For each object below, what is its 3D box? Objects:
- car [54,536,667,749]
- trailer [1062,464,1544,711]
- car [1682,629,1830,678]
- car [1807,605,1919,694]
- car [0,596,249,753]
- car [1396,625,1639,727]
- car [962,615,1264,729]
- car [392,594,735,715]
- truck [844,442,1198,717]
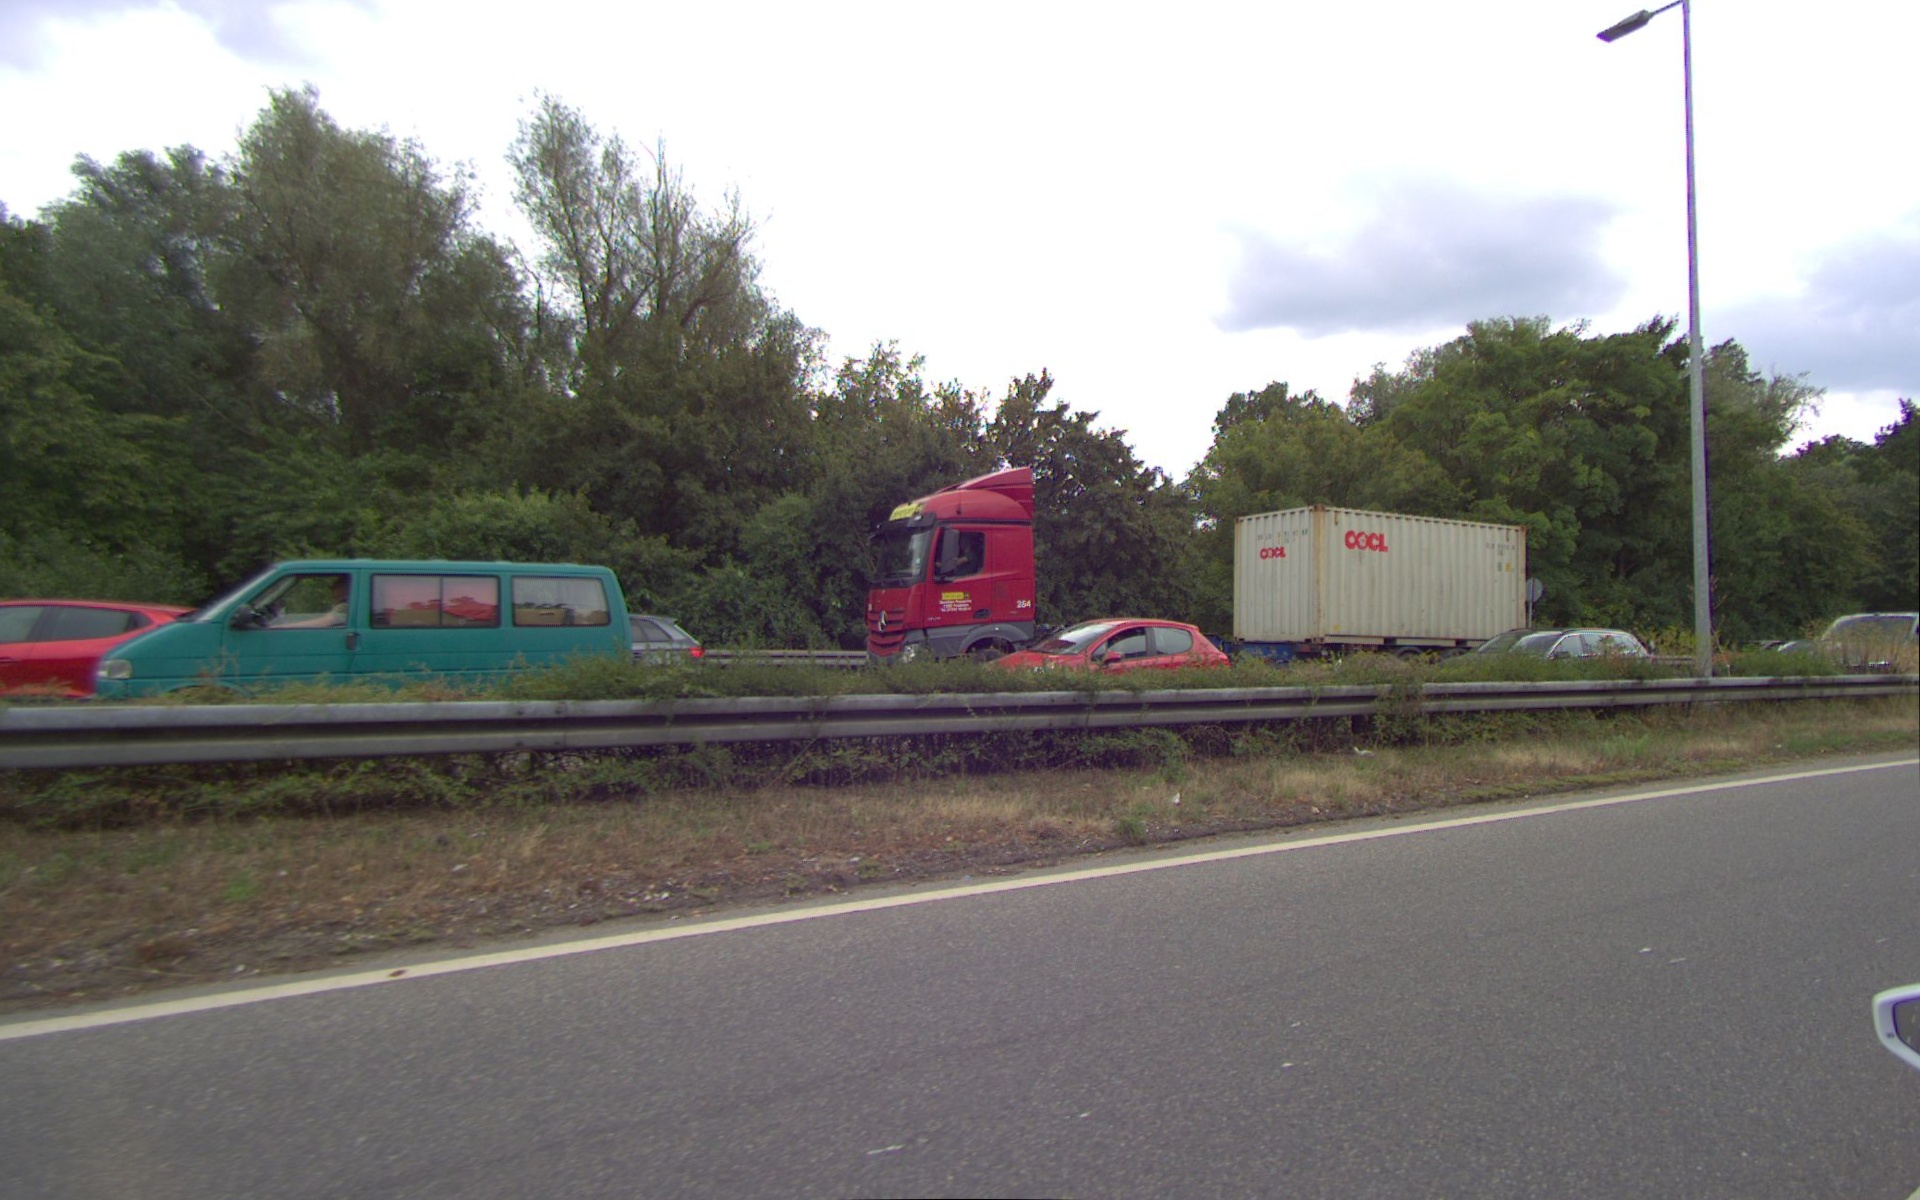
[{"bbox_3d":[-5.690,0.455,10.244,4.900,1.752,1.796,3,-2,-29],"label":"car"},{"bbox_3d":[7.322,0.008,20.541,10.630,4.202,2.526,2,-2,-26],"label":"trailer"},{"bbox_3d":[23.412,1.577,29.536,3.944,1.305,1.815,2,-2,-24],"label":"car"},{"bbox_3d":[22.262,1.157,23.344,5.208,1.888,2.003,2,-2,-26],"label":"car"},{"bbox_3d":[-10.571,0.785,11.307,3.954,1.635,1.984,3,-2,-30],"label":"car"},{"bbox_3d":[10.316,1.372,18.540,4.279,1.688,1.834,2,-2,-27],"label":"car"},{"bbox_3d":[2.253,1.017,14.636,4.073,1.451,1.797,2,-2,-27],"label":"car"},{"bbox_3d":[-5.516,0.756,14.115,4.229,1.485,1.795,3,-2,-31],"label":"car"},{"bbox_3d":[1.074,-0.191,17.471,5.548,4.137,2.560,2,-1,-26],"label":"truck"}]
